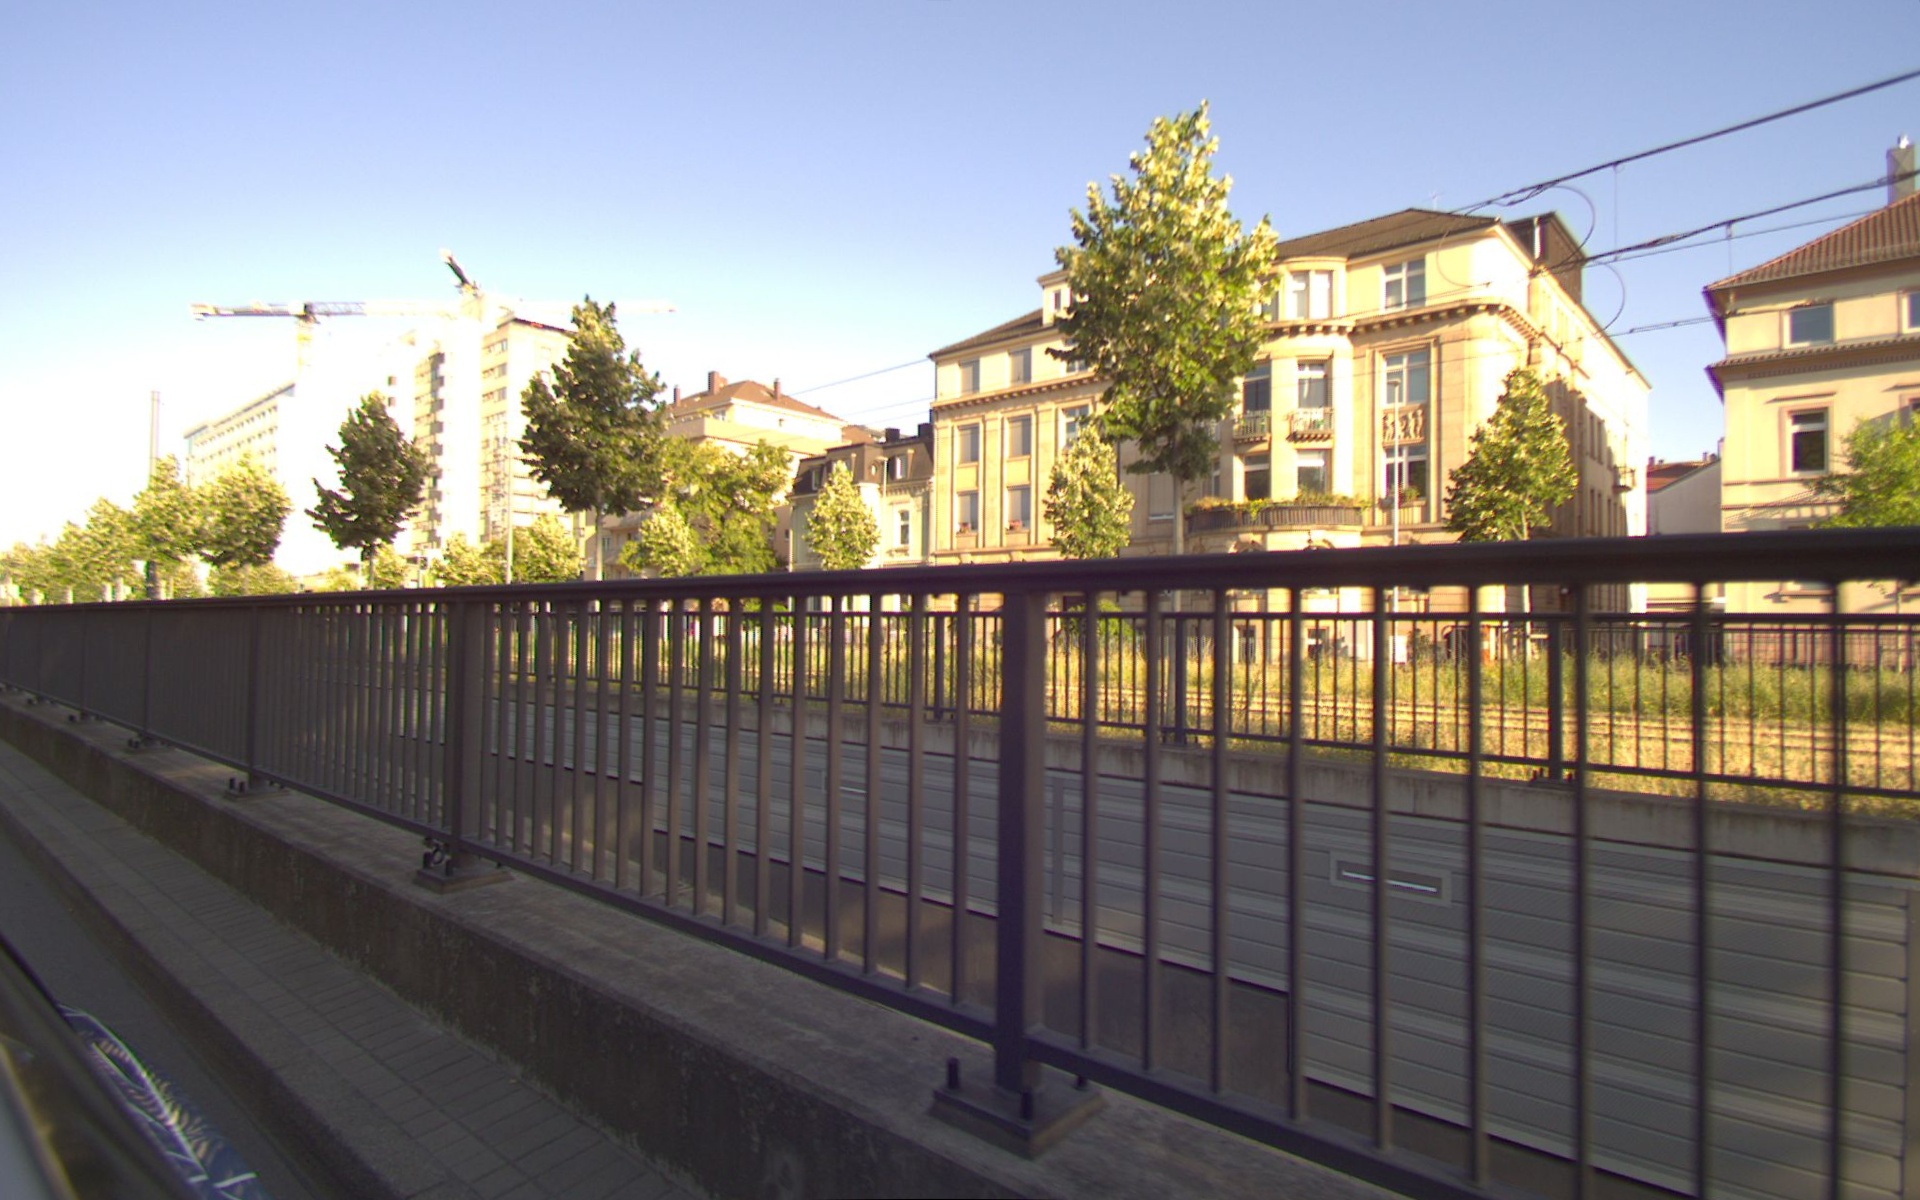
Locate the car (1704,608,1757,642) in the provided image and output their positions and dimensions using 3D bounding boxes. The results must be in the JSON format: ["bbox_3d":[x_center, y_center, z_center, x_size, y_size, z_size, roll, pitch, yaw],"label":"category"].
[{"bbox_3d":[36.443,1.169,47.830,1.682,1.480,3.944,0,0,42],"label":"car"}]

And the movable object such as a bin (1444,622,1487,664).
[{"bbox_3d":[17.871,1.511,35.774,1.079,1.440,1.192,-2,-3,41],"label":"movable object such as a bin"}]

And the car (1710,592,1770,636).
[{"bbox_3d":[42.281,0.717,54.822,2.248,2.286,4.516,0,0,42],"label":"car"}]

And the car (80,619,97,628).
[{"bbox_3d":[-161.720,4.346,187.739,4.660,1.474,1.757,-1,-1,41],"label":"car"}]

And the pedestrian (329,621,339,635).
[{"bbox_3d":[-75.050,3.377,121.264,0.882,1.652,0.766,-1,-2,41],"label":"pedestrian"}]

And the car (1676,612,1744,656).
[{"bbox_3d":[28.131,1.220,37.912,1.682,1.480,3.944,0,0,42],"label":"car"}]
